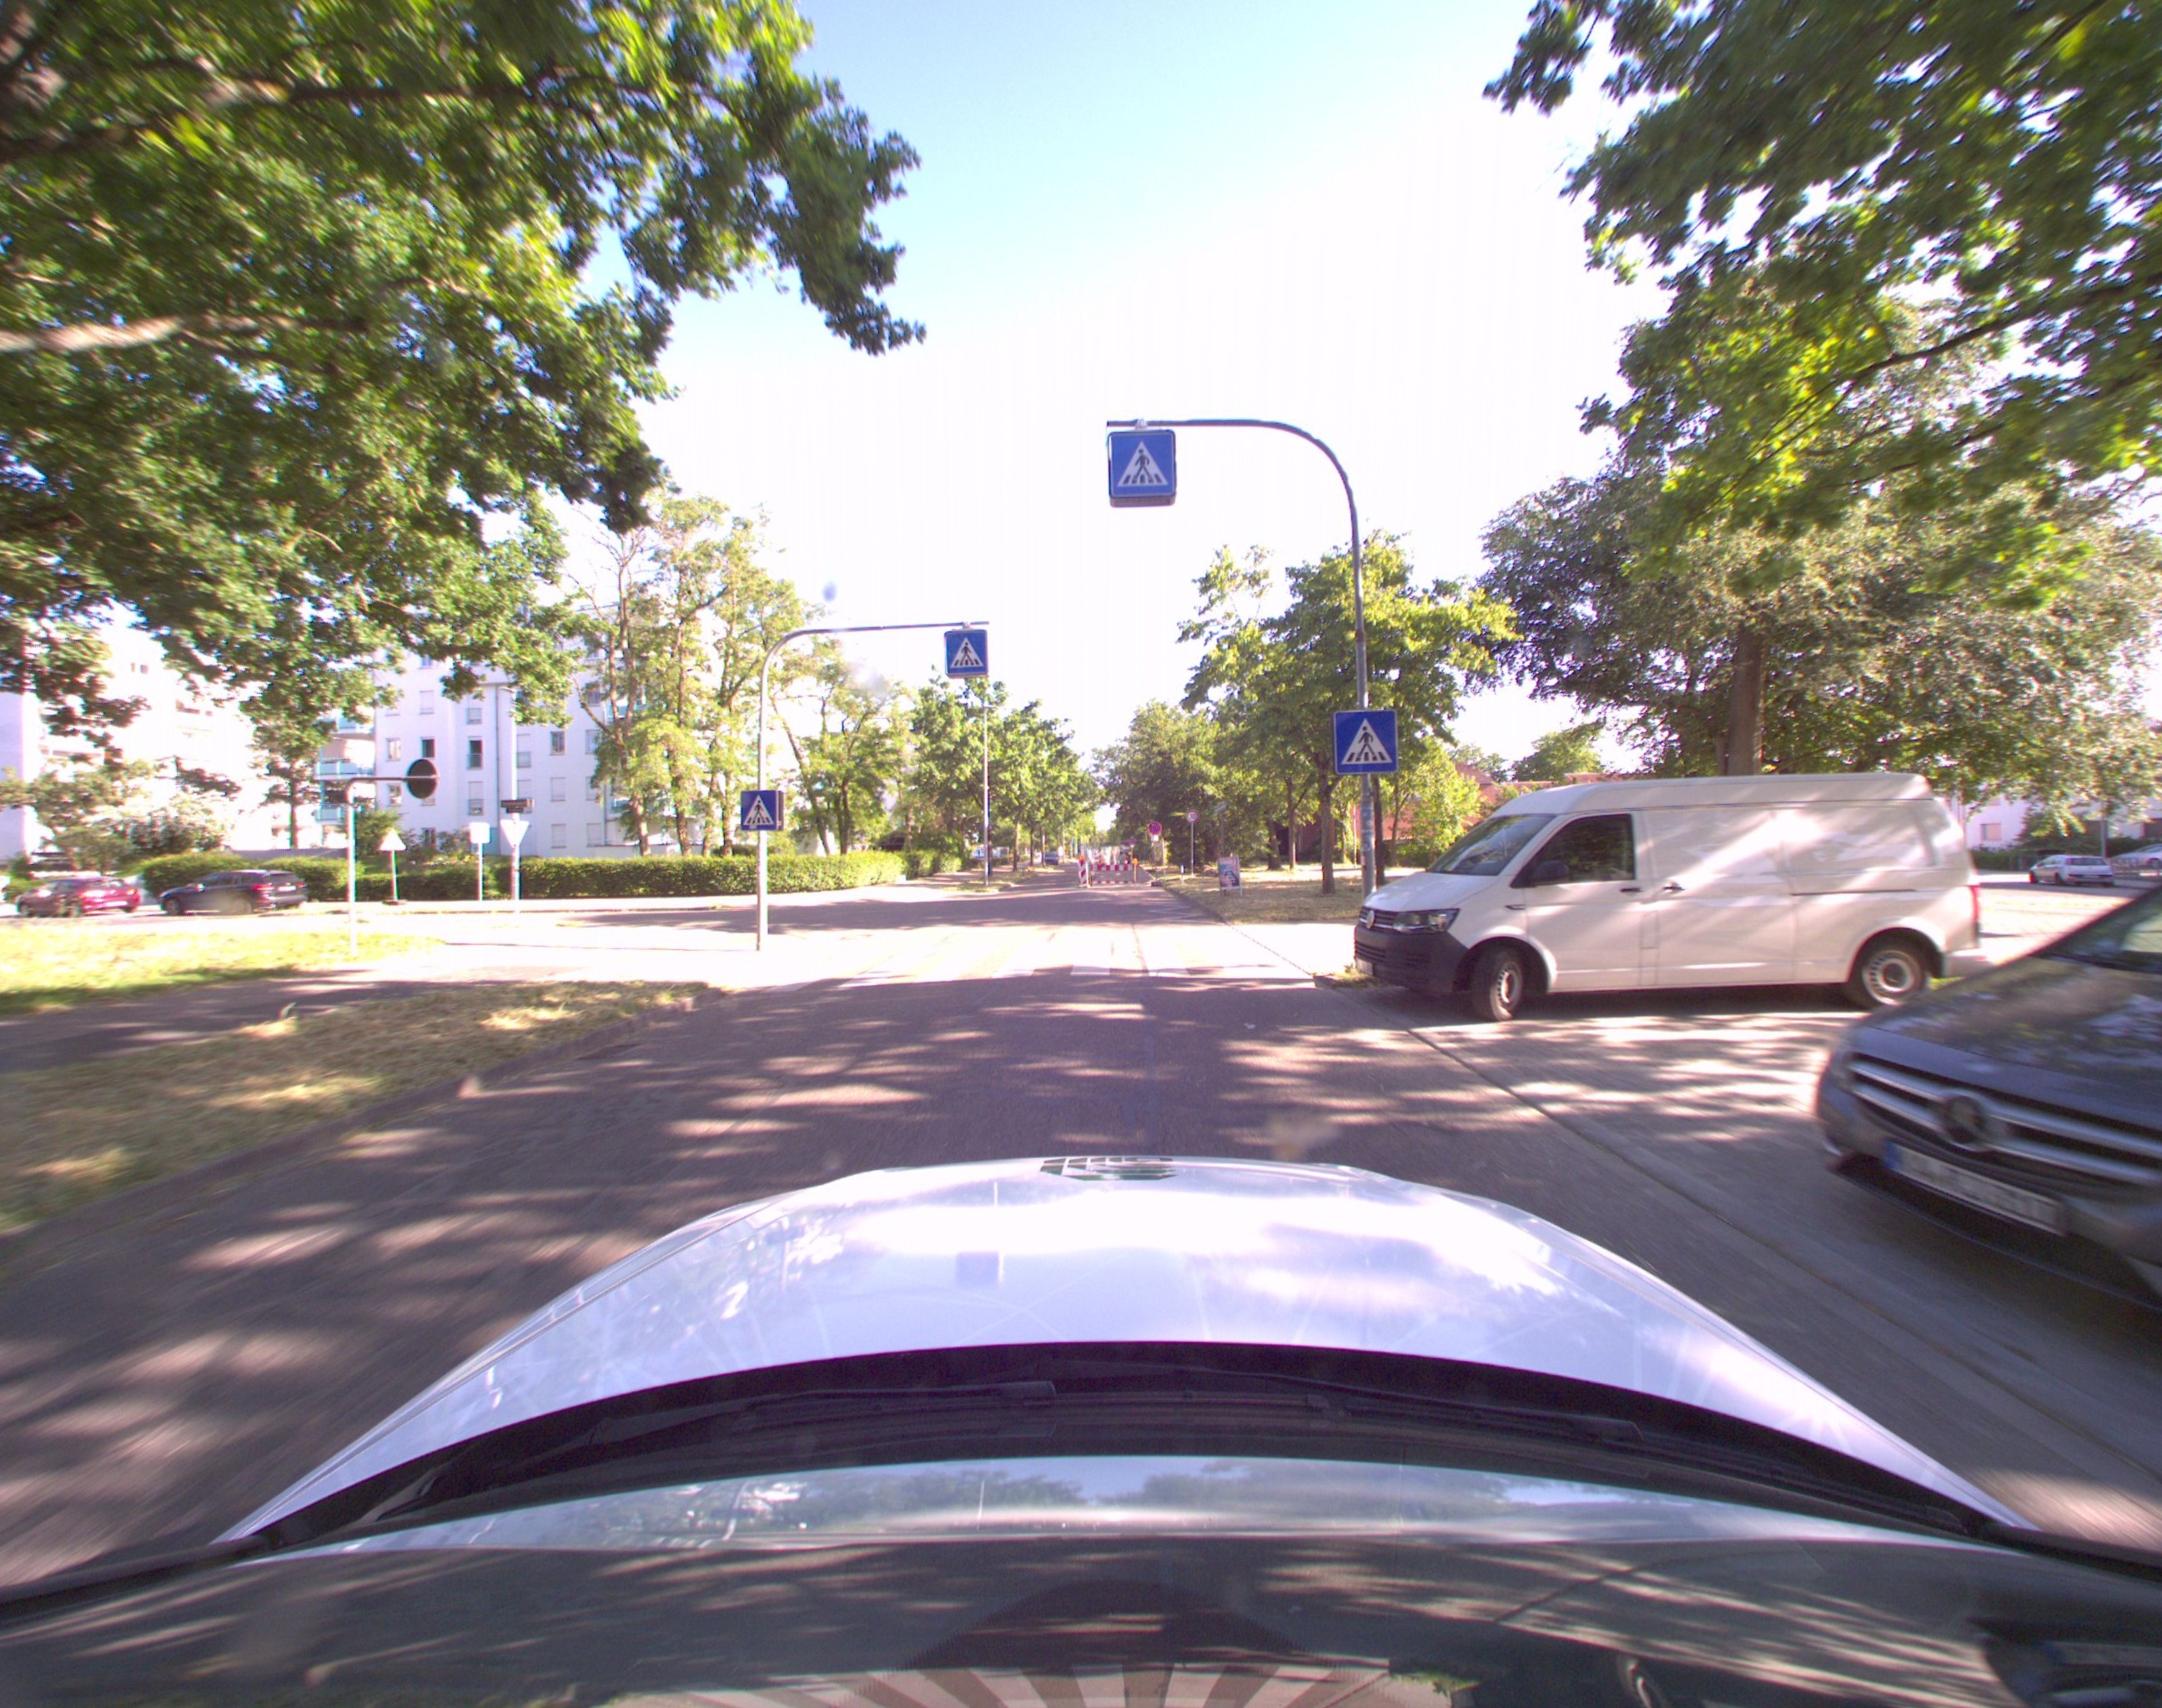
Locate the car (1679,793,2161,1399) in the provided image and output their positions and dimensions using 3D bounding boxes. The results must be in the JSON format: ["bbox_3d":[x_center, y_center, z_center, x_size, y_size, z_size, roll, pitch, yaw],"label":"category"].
[{"bbox_3d":[4.893,0.598,2.855,4.199,1.568,1.933,-1,0,0],"label":"car"}]

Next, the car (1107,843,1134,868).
[{"bbox_3d":[3.080,0.099,64.157,1.986,1.933,4.001,-1,0,1],"label":"car"}]

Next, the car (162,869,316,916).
[{"bbox_3d":[-31.341,1.411,30.373,3.964,1.613,2.019,-1,0,8],"label":"car"}]

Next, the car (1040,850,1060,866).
[{"bbox_3d":[-3.488,0.390,91.129,1.986,1.716,4.001,-1,0,1],"label":"car"}]

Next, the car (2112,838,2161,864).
[{"bbox_3d":[65.188,-0.192,48.713,3.956,1.574,2.009,-1,0,16],"label":"car"}]

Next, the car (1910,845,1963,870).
[{"bbox_3d":[56.942,0.221,54.268,1.714,1.555,3.489,-1,0,35],"label":"car"}]

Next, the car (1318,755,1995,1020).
[{"bbox_3d":[5.234,0.285,8.016,5.170,2.105,2.082,-2,0,0],"label":"car"}]

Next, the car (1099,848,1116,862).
[{"bbox_3d":[3.283,0.136,100.634,1.986,1.716,4.001,-1,0,1],"label":"car"}]

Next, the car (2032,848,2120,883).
[{"bbox_3d":[46.999,0.503,38.564,1.714,1.555,3.489,-1,0,35],"label":"car"}]

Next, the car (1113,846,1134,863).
[{"bbox_3d":[4.403,0.057,84.849,1.986,1.716,4.001,-1,0,1],"label":"car"}]

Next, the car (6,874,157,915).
[{"bbox_3d":[-38.117,1.527,31.110,3.964,1.423,1.815,-1,1,8],"label":"car"}]

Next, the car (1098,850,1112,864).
[{"bbox_3d":[3.345,0.383,114.458,1.986,1.968,4.001,-1,0,1],"label":"car"}]

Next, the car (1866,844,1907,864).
[{"bbox_3d":[63.414,0.007,64.171,1.714,1.555,3.489,-1,0,35],"label":"car"}]

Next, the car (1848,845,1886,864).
[{"bbox_3d":[66.766,0.057,69.226,1.714,1.555,3.489,-1,0,35],"label":"car"}]

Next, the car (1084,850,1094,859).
[{"bbox_3d":[1.767,0.125,168.641,1.986,1.716,4.001,-1,0,1],"label":"car"}]
